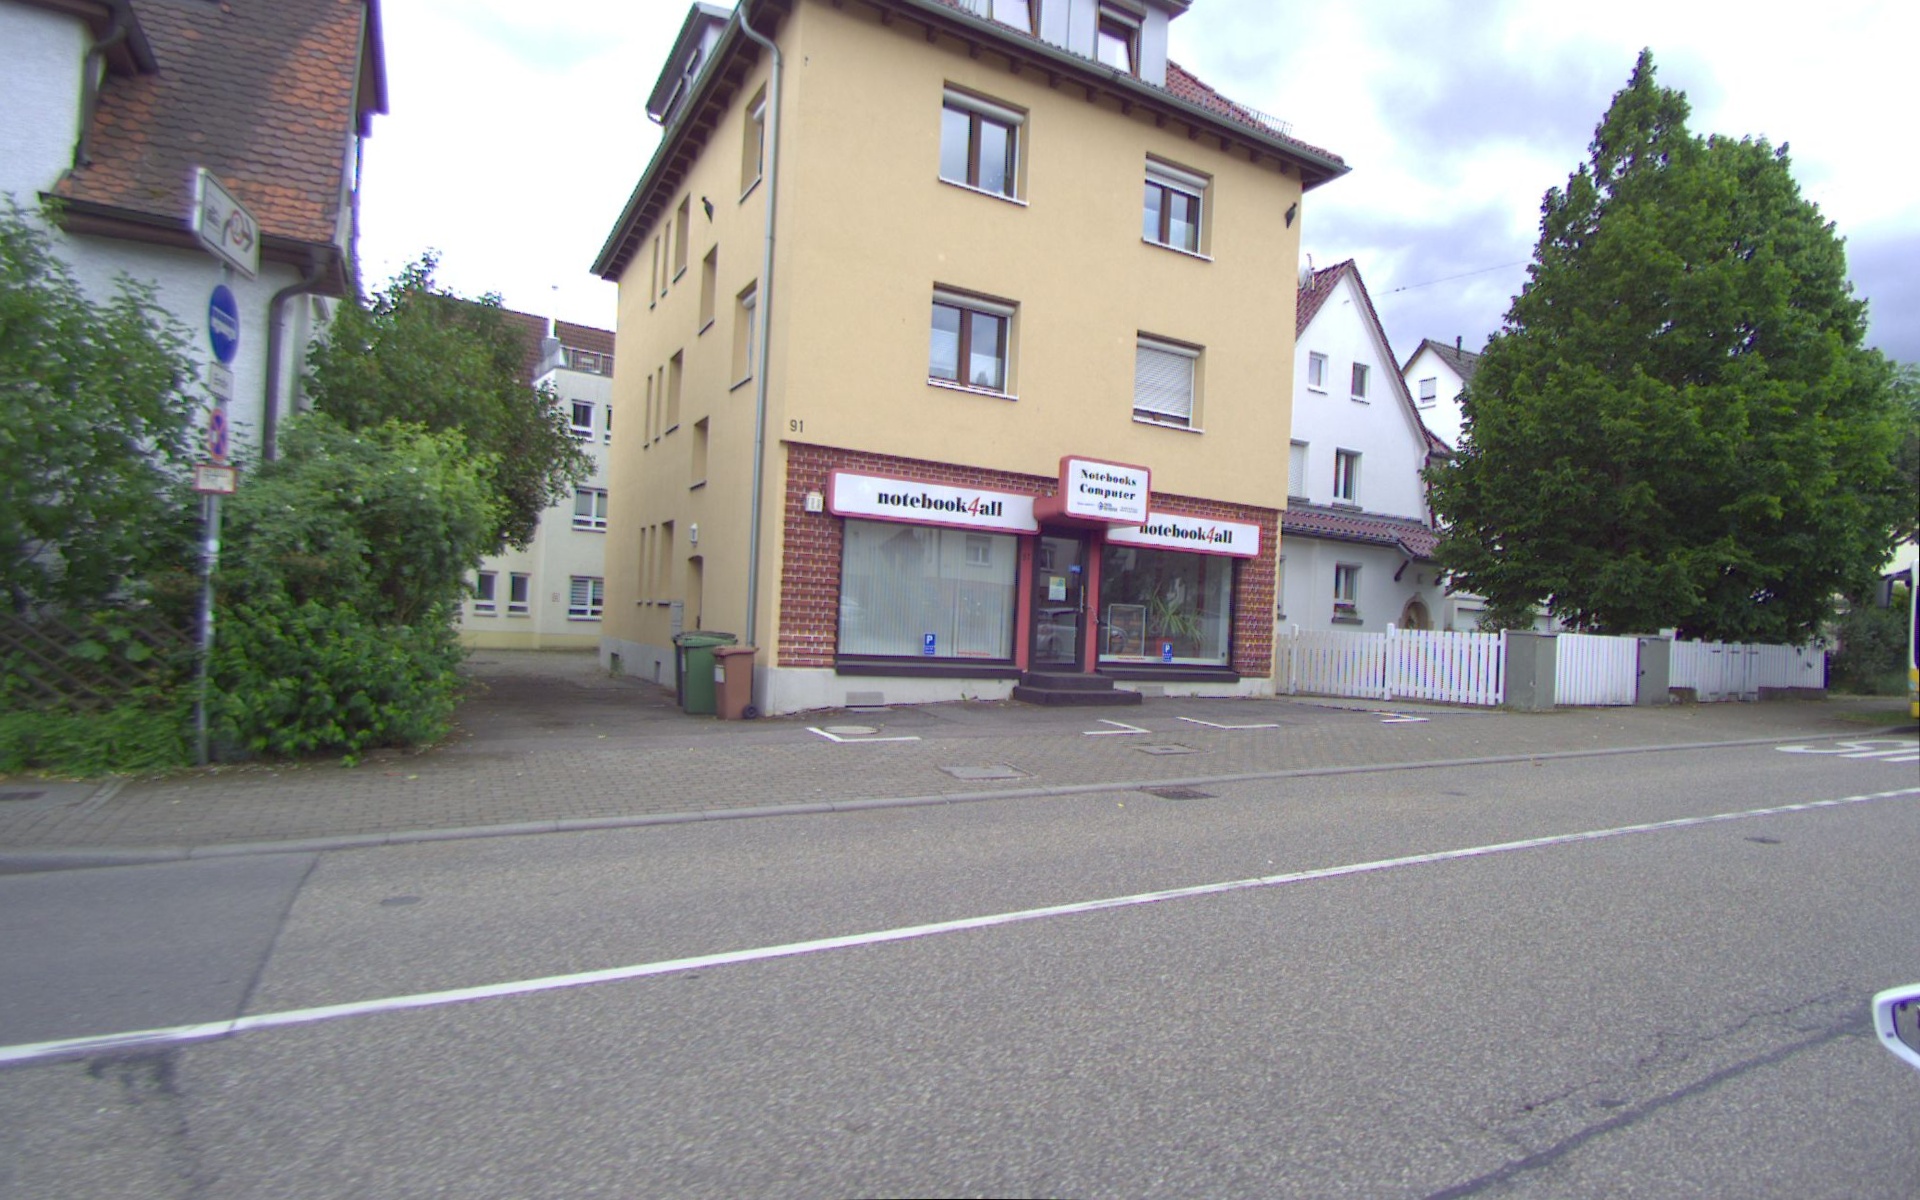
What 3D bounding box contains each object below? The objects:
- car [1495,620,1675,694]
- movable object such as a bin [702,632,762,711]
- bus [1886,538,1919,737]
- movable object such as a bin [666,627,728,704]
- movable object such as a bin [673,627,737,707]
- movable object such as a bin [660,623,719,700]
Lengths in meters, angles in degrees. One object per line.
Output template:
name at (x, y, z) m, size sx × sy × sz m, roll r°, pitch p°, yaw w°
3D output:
car at (14.609, 1.314, 23.419) m, size 4.568 × 1.585 × 1.796 m, roll 2°, pitch -3°, yaw -33°
movable object such as a bin at (-2.926, 0.909, 12.877) m, size 0.599 × 0.961 × 0.552 m, roll 4°, pitch -3°, yaw -25°
bus at (20.694, 0.786, 17.790) m, size 11.920 × 3.126 × 2.621 m, roll 2°, pitch -2°, yaw -28°
movable object such as a bin at (-3.645, 0.899, 13.908) m, size 0.681 × 1.016 × 0.552 m, roll 4°, pitch -3°, yaw -25°
movable object such as a bin at (-3.390, 0.882, 13.358) m, size 0.681 × 1.016 × 0.552 m, roll 4°, pitch -3°, yaw -25°
movable object such as a bin at (-3.894, 0.886, 14.453) m, size 0.681 × 1.055 × 0.552 m, roll 4°, pitch -3°, yaw -25°
